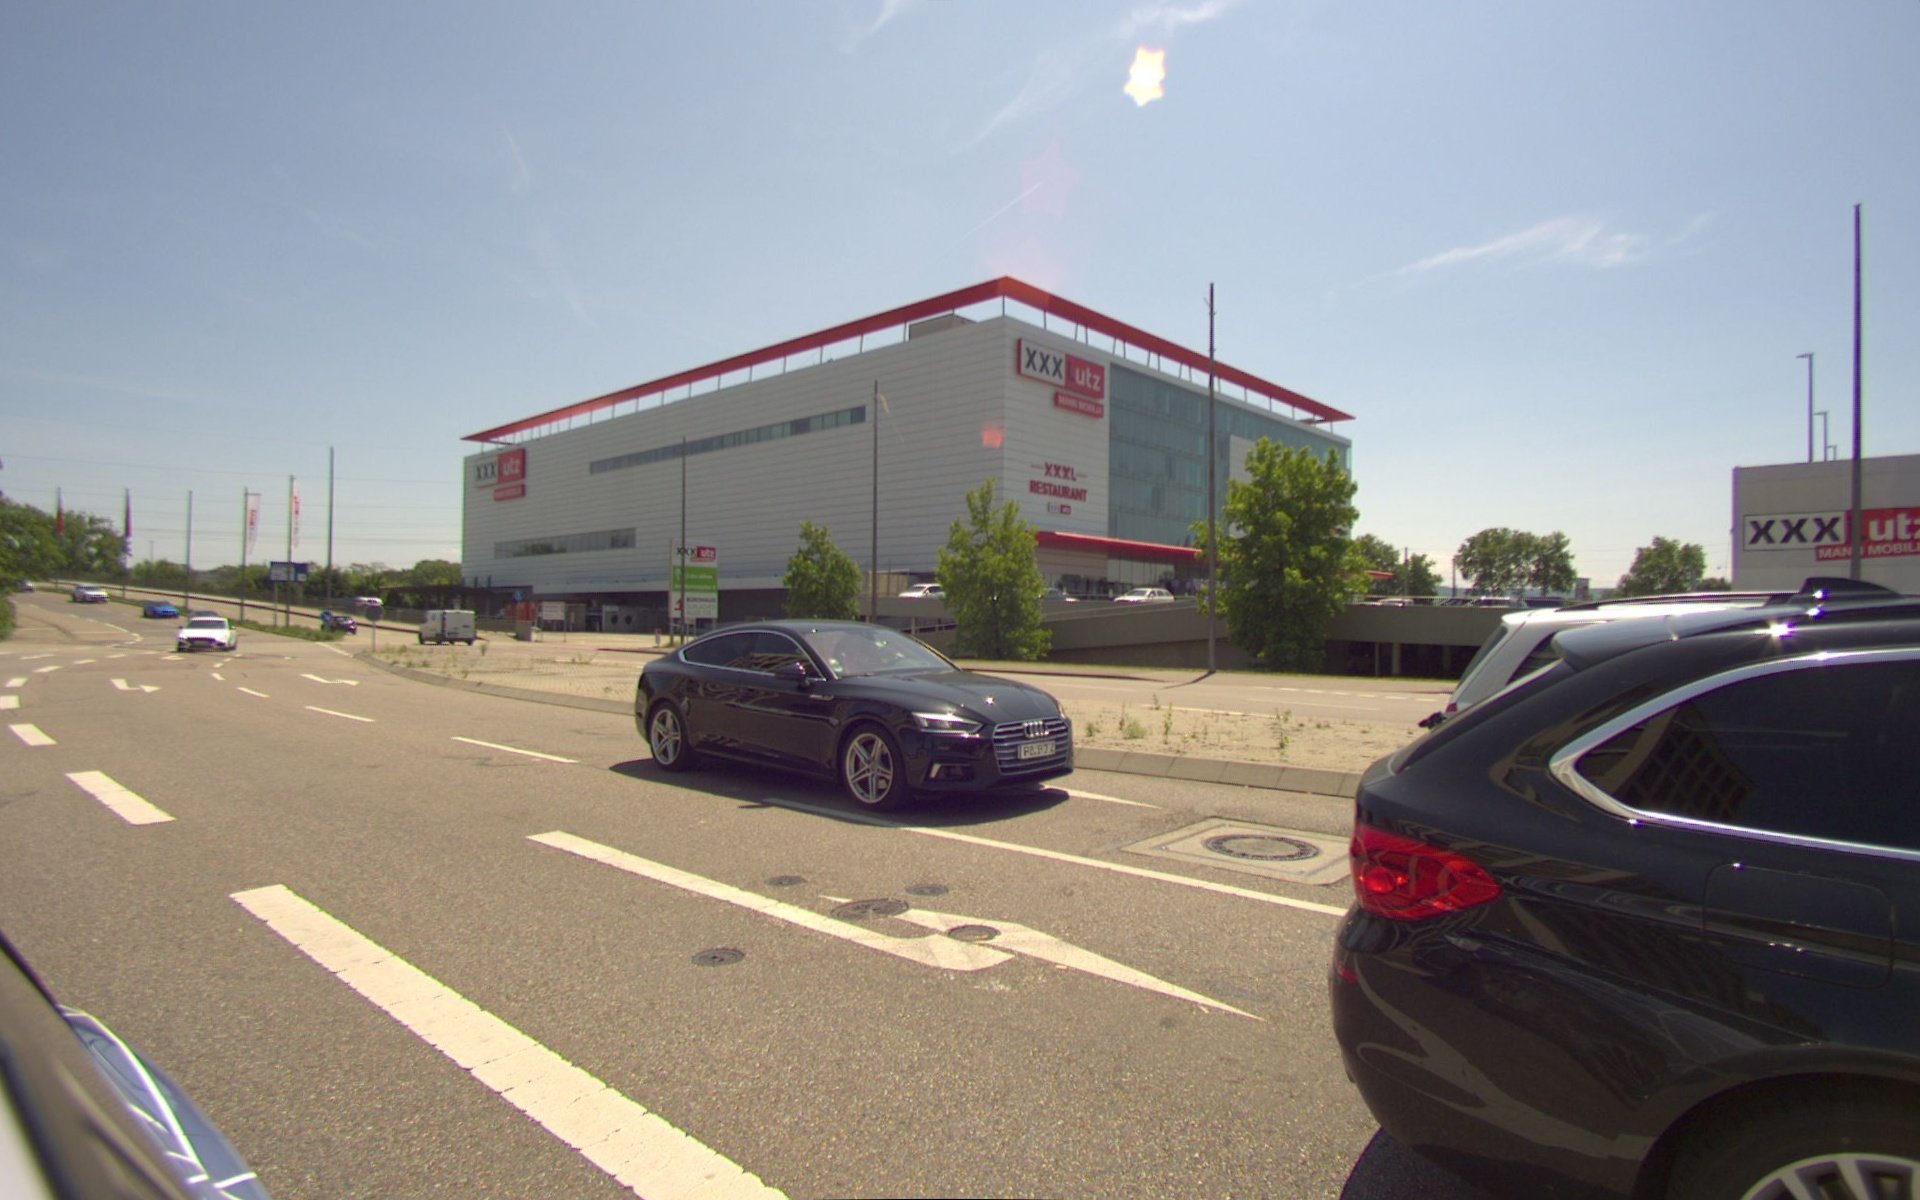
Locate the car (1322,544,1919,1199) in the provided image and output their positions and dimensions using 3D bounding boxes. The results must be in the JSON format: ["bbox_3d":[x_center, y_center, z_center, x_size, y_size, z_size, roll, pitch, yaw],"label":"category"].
[{"bbox_3d":[3.076,0.635,1.258,4.619,1.477,1.781,-1,-1,40],"label":"car"}]

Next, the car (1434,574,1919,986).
[{"bbox_3d":[4.314,0.659,4.214,3.991,1.505,1.782,-1,-1,36],"label":"car"}]

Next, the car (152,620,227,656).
[{"bbox_3d":[-33.053,1.607,43.366,4.228,1.461,1.712,-1,-2,41],"label":"car"}]

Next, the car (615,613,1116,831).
[{"bbox_3d":[-1.045,0.847,8.717,4.533,1.401,1.729,-2,-2,43],"label":"car"}]

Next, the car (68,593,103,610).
[{"bbox_3d":[-86.290,0.144,99.882,4.046,1.587,1.661,-1,-1,34],"label":"car"}]

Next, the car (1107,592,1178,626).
[{"bbox_3d":[10.346,0.535,57.130,2.000,1.781,4.140,0,-2,44],"label":"car"}]

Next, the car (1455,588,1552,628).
[{"bbox_3d":[27.346,0.438,50.977,3.998,1.946,1.973,-1,-2,41],"label":"car"}]

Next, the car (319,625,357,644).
[{"bbox_3d":[-45.793,2.515,74.493,1.832,1.312,3.901,3,-3,-39],"label":"car"}]

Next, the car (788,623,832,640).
[{"bbox_3d":[-13.334,2.827,90.271,1.959,1.507,3.437,0,-2,42],"label":"car"}]

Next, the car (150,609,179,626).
[{"bbox_3d":[-70.047,1.490,89.109,1.775,1.424,4.413,0,0,-41],"label":"car"}]

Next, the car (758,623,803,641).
[{"bbox_3d":[-16.423,2.940,92.769,1.911,1.632,3.698,0,-2,41],"label":"car"}]

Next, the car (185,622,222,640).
[{"bbox_3d":[-58.338,2.378,77.986,1.776,1.388,4.410,2,-2,-44],"label":"car"}]

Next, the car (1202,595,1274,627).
[{"bbox_3d":[17.986,0.711,65.546,3.999,2.029,1.972,0,-2,42],"label":"car"}]

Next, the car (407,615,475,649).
[{"bbox_3d":[-29.239,1.777,56.993,4.840,1.864,1.811,-1,-2,42],"label":"car"}]

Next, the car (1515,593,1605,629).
[{"bbox_3d":[32.912,0.614,55.529,3.996,1.923,1.974,-1,-2,39],"label":"car"}]
